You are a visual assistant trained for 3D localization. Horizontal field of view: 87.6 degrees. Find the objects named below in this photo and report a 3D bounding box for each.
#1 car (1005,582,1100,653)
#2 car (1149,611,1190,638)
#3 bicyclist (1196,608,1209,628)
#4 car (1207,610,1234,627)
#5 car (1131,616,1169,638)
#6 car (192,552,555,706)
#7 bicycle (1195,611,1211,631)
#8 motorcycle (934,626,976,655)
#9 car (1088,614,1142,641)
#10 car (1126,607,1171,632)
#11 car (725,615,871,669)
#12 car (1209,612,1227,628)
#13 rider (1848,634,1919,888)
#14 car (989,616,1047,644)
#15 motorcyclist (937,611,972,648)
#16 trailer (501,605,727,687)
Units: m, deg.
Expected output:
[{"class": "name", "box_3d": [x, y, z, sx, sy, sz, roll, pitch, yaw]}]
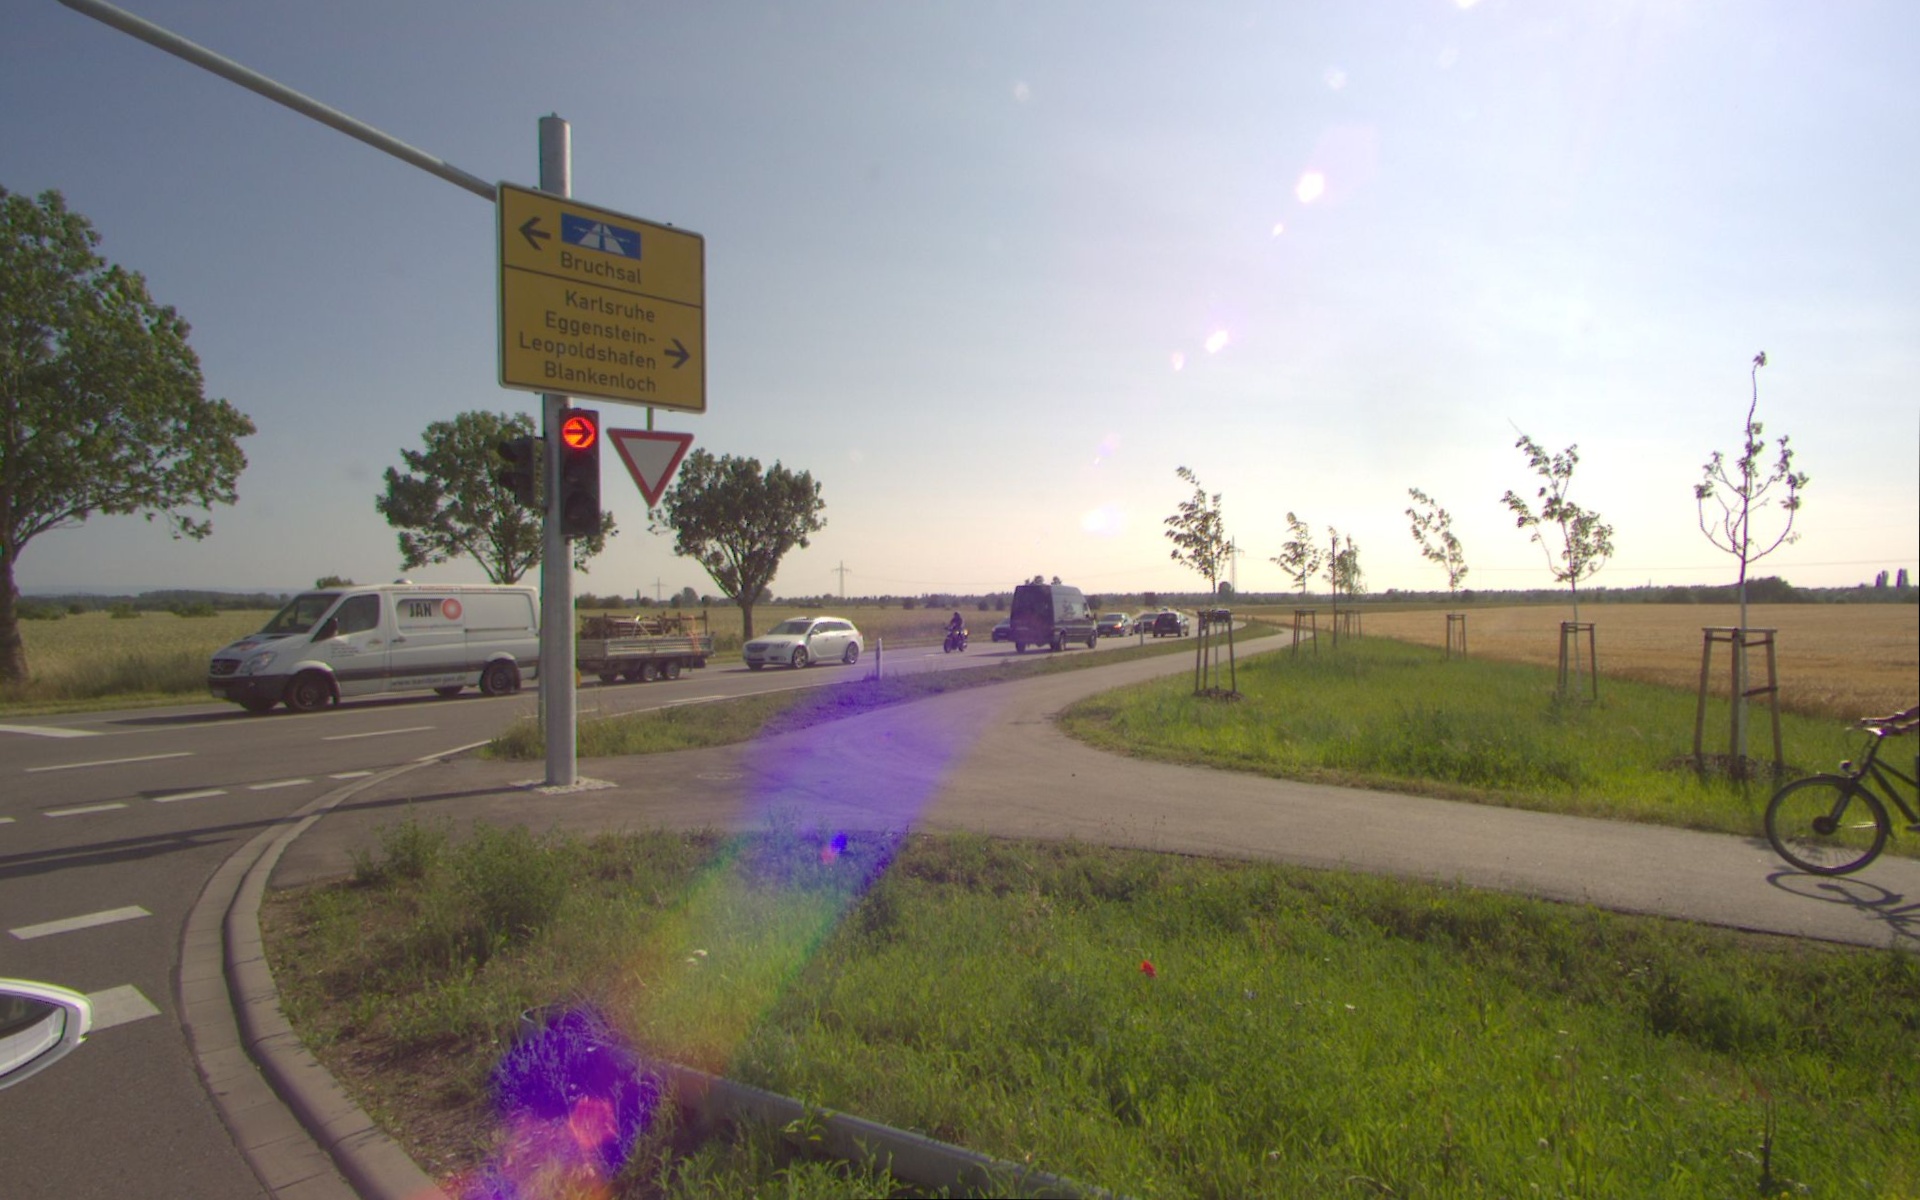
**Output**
[{"class": "car", "box_3d": [3.887, 0.683, 40.837, 2.001, 2.656, 5.730, 0, 0, 26]}, {"class": "car", "box_3d": [12.481, 1.415, 59.554, 1.700, 1.476, 3.727, 0, 1, 24]}, {"class": "bicyclist", "box_3d": [18.306, 1.385, 75.626, 0.745, 1.508, 0.808, -1, -2, 26]}, {"class": "car", "box_3d": [25.264, 1.762, 96.956, 1.889, 1.539, 4.675, 1, 0, 23]}, {"class": "car", "box_3d": [13.789, 1.946, 72.500, 1.665, 1.517, 3.986, 0, -1, 27]}, {"class": "car", "box_3d": [-11.086, 0.598, 19.569, 1.970, 2.524, 5.951, -2, -2, 30]}, {"class": "bicycle", "box_3d": [18.430, 1.596, 75.882, 0.720, 1.415, 2.491, -1, 0, 25]}, {"class": "motorcycle", "box_3d": [-0.178, 1.640, 40.703, 0.836, 1.133, 2.140, 0, -2, 26]}, {"class": "car", "box_3d": [9.849, 1.789, 63.379, 1.990, 1.609, 4.868, -2, -2, 27]}, {"class": "car", "box_3d": [13.558, 1.443, 71.978, 1.968, 1.712, 4.870, -1, -2, 26]}, {"class": "car", "box_3d": [-4.886, 1.289, 30.962, 1.969, 1.529, 4.868, -2, -3, 27]}, {"class": "car", "box_3d": [28.876, 2.233, 111.974, 1.732, 1.689, 3.964, -1, -2, 17]}, {"class": "rider", "box_3d": [6.834, 1.080, 6.768, 0.973, 1.665, 0.820, 0, 1, -17]}, {"class": "car", "box_3d": [3.380, 1.723, 57.688, 1.968, 1.521, 3.986, 0, -1, 26]}, {"class": "motorcyclist", "box_3d": [-0.213, 1.192, 40.620, 1.013, 1.479, 1.067, 0, -1, 27]}, {"class": "trailer", "box_3d": [-8.270, 1.038, 24.488, 1.925, 1.776, 5.254, -1, -1, 30]}]
